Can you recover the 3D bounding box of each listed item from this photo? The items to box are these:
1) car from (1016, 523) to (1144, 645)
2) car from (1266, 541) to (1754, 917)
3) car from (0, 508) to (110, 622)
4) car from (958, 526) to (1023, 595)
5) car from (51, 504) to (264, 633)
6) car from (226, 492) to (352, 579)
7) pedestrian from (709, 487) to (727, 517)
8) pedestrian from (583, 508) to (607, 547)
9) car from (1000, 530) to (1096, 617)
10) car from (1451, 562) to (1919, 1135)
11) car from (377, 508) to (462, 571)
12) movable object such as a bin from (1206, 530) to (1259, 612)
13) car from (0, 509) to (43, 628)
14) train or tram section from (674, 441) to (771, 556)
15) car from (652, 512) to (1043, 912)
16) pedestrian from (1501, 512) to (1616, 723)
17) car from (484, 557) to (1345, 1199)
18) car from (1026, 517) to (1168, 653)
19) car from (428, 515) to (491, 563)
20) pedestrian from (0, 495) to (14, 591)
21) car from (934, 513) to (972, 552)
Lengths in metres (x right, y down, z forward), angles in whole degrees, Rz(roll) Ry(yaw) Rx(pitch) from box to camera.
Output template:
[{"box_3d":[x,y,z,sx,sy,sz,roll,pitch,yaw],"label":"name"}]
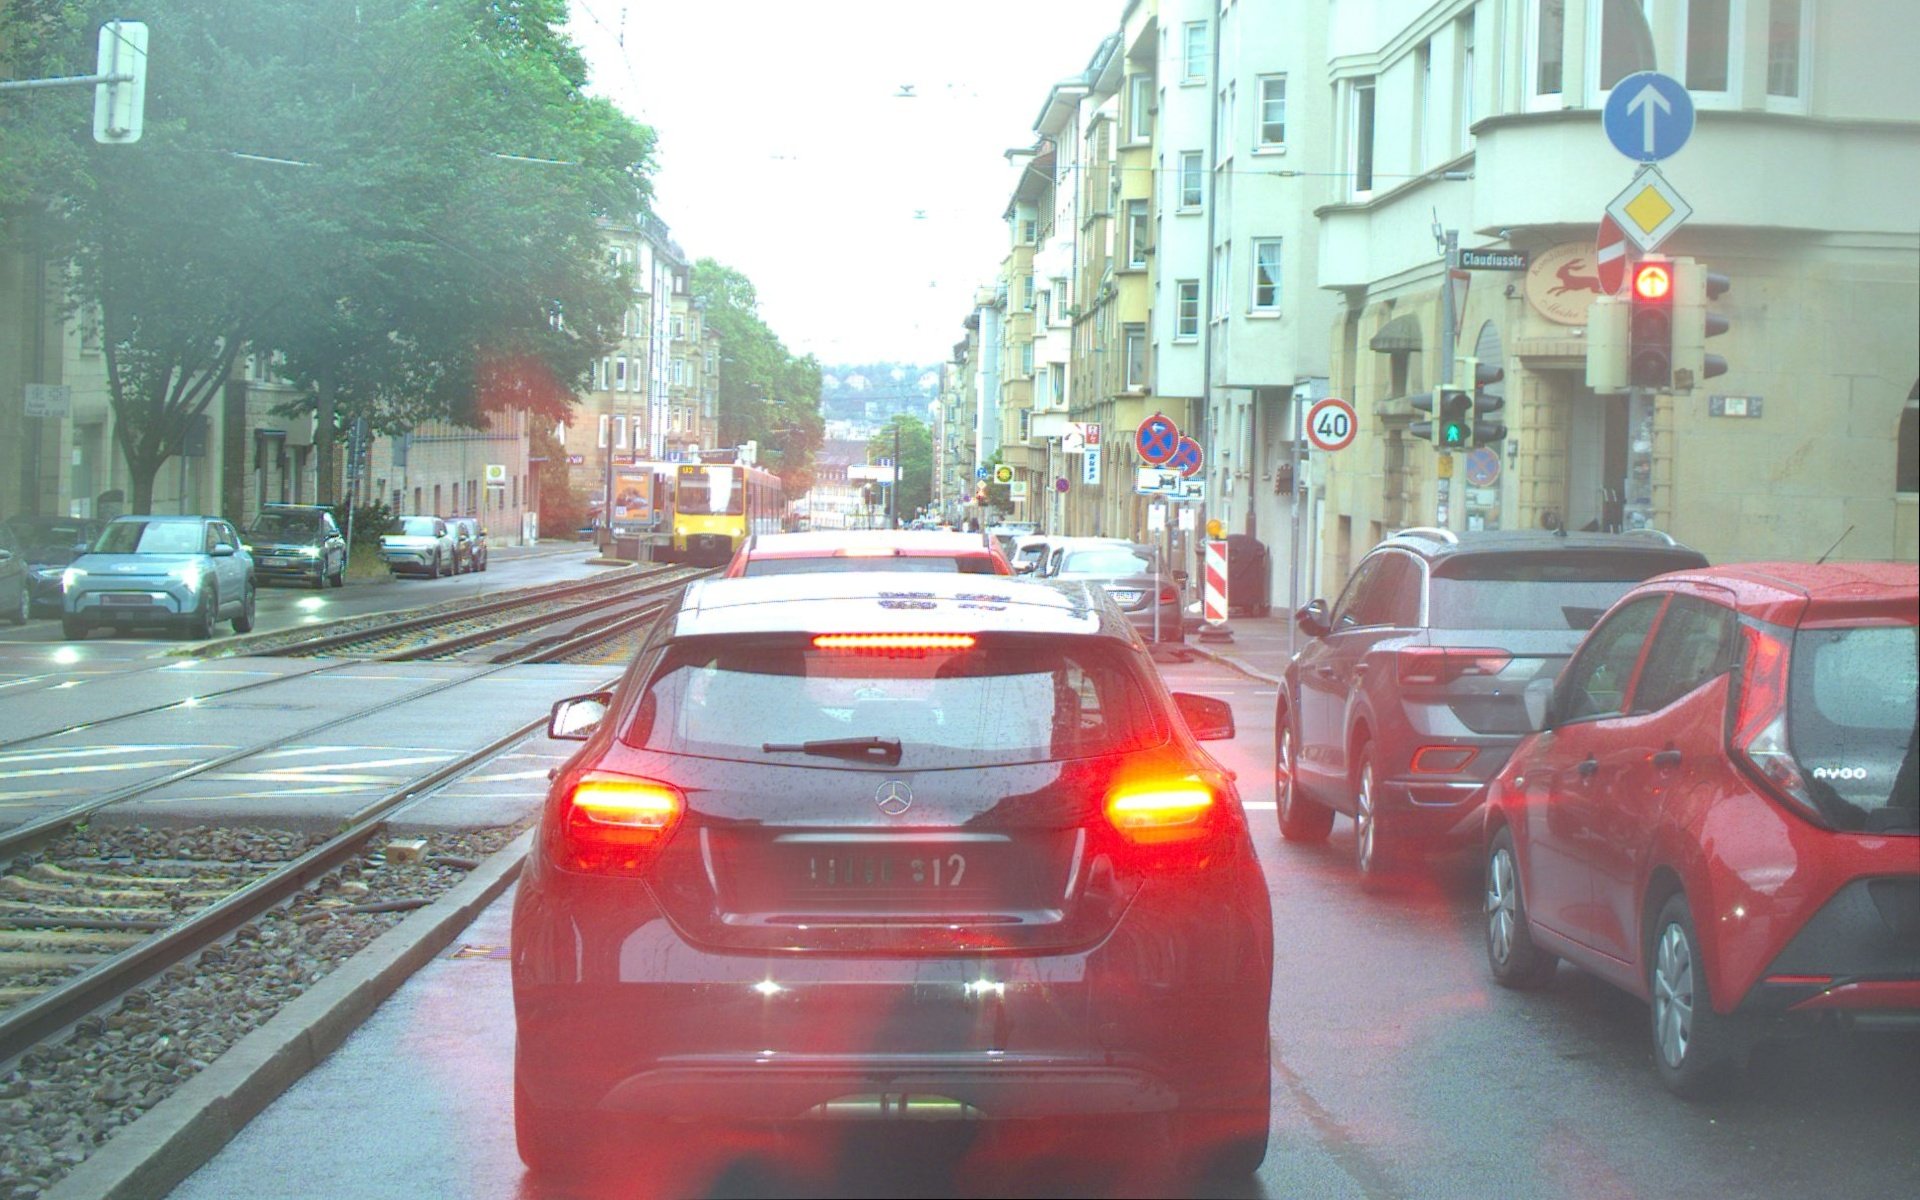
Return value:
[{"box_3d":[1.611,-0.246,47.115,1.544,1.585,3.548,1,1,-1],"label":"car"},{"box_3d":[2.386,0.489,15.763,1.544,1.481,3.830,1,1,-1],"label":"car"},{"box_3d":[-13.737,-0.518,50.722,1.716,1.605,3.919,1,0,-5],"label":"car"},{"box_3d":[0.633,-0.858,73.593,1.294,1.437,2.929,1,1,-1],"label":"car"},{"box_3d":[-10.459,-0.413,45.078,1.898,1.582,3.973,1,0,-1],"label":"car"},{"box_3d":[-13.958,-1.324,71.700,1.875,1.731,3.918,1,0,-1],"label":"car"},{"box_3d":[-15.680,-6.342,222.762,1.053,1.951,1.043,2,1,1],"label":"pedestrian"},{"box_3d":[-18.434,-3.656,173.679,1.053,1.951,1.043,2,1,1],"label":"pedestrian"},{"box_3d":[1.553,-0.500,61.524,1.544,1.481,3.548,1,1,-1],"label":"car"},{"box_3d":[2.650,0.633,10.524,1.642,1.443,3.299,1,1,-3],"label":"car"},{"box_3d":[-13.996,-1.542,89.164,1.589,1.575,3.918,1,0,-1],"label":"car"},{"box_3d":[4.711,-0.503,59.571,0.878,1.384,0.982,1,0,3],"label":"movable object such as a bin"},{"box_3d":[-13.484,-0.429,45.691,1.752,1.547,4.036,1,0,-4],"label":"car"},{"box_3d":[-8.369,-3.520,122.132,2.783,3.847,10.430,1,0,-1],"label":"train or tram section"},{"box_3d":[-0.479,0.437,15.843,1.565,1.604,3.814,1,0,-1],"label":"car"},{"box_3d":[5.062,0.138,29.121,0.741,1.742,1.111,1,0,-1],"label":"pedestrian"},{"box_3d":[-0.126,0.639,9.456,1.829,1.453,4.104,1,1,-1],"label":"car"},{"box_3d":[1.668,-0.209,42.639,1.544,1.585,3.548,1,1,-1],"label":"car"},{"box_3d":[-14.340,-1.729,98.573,1.448,1.326,3.272,1,0,-2],"label":"car"},{"box_3d":[-16.896,-0.995,60.021,0.631,1.667,0.703,1,0,-8],"label":"pedestrian"},{"box_3d":[-0.300,-2.946,150.136,1.544,1.630,3.686,1,1,-1],"label":"car"}]
